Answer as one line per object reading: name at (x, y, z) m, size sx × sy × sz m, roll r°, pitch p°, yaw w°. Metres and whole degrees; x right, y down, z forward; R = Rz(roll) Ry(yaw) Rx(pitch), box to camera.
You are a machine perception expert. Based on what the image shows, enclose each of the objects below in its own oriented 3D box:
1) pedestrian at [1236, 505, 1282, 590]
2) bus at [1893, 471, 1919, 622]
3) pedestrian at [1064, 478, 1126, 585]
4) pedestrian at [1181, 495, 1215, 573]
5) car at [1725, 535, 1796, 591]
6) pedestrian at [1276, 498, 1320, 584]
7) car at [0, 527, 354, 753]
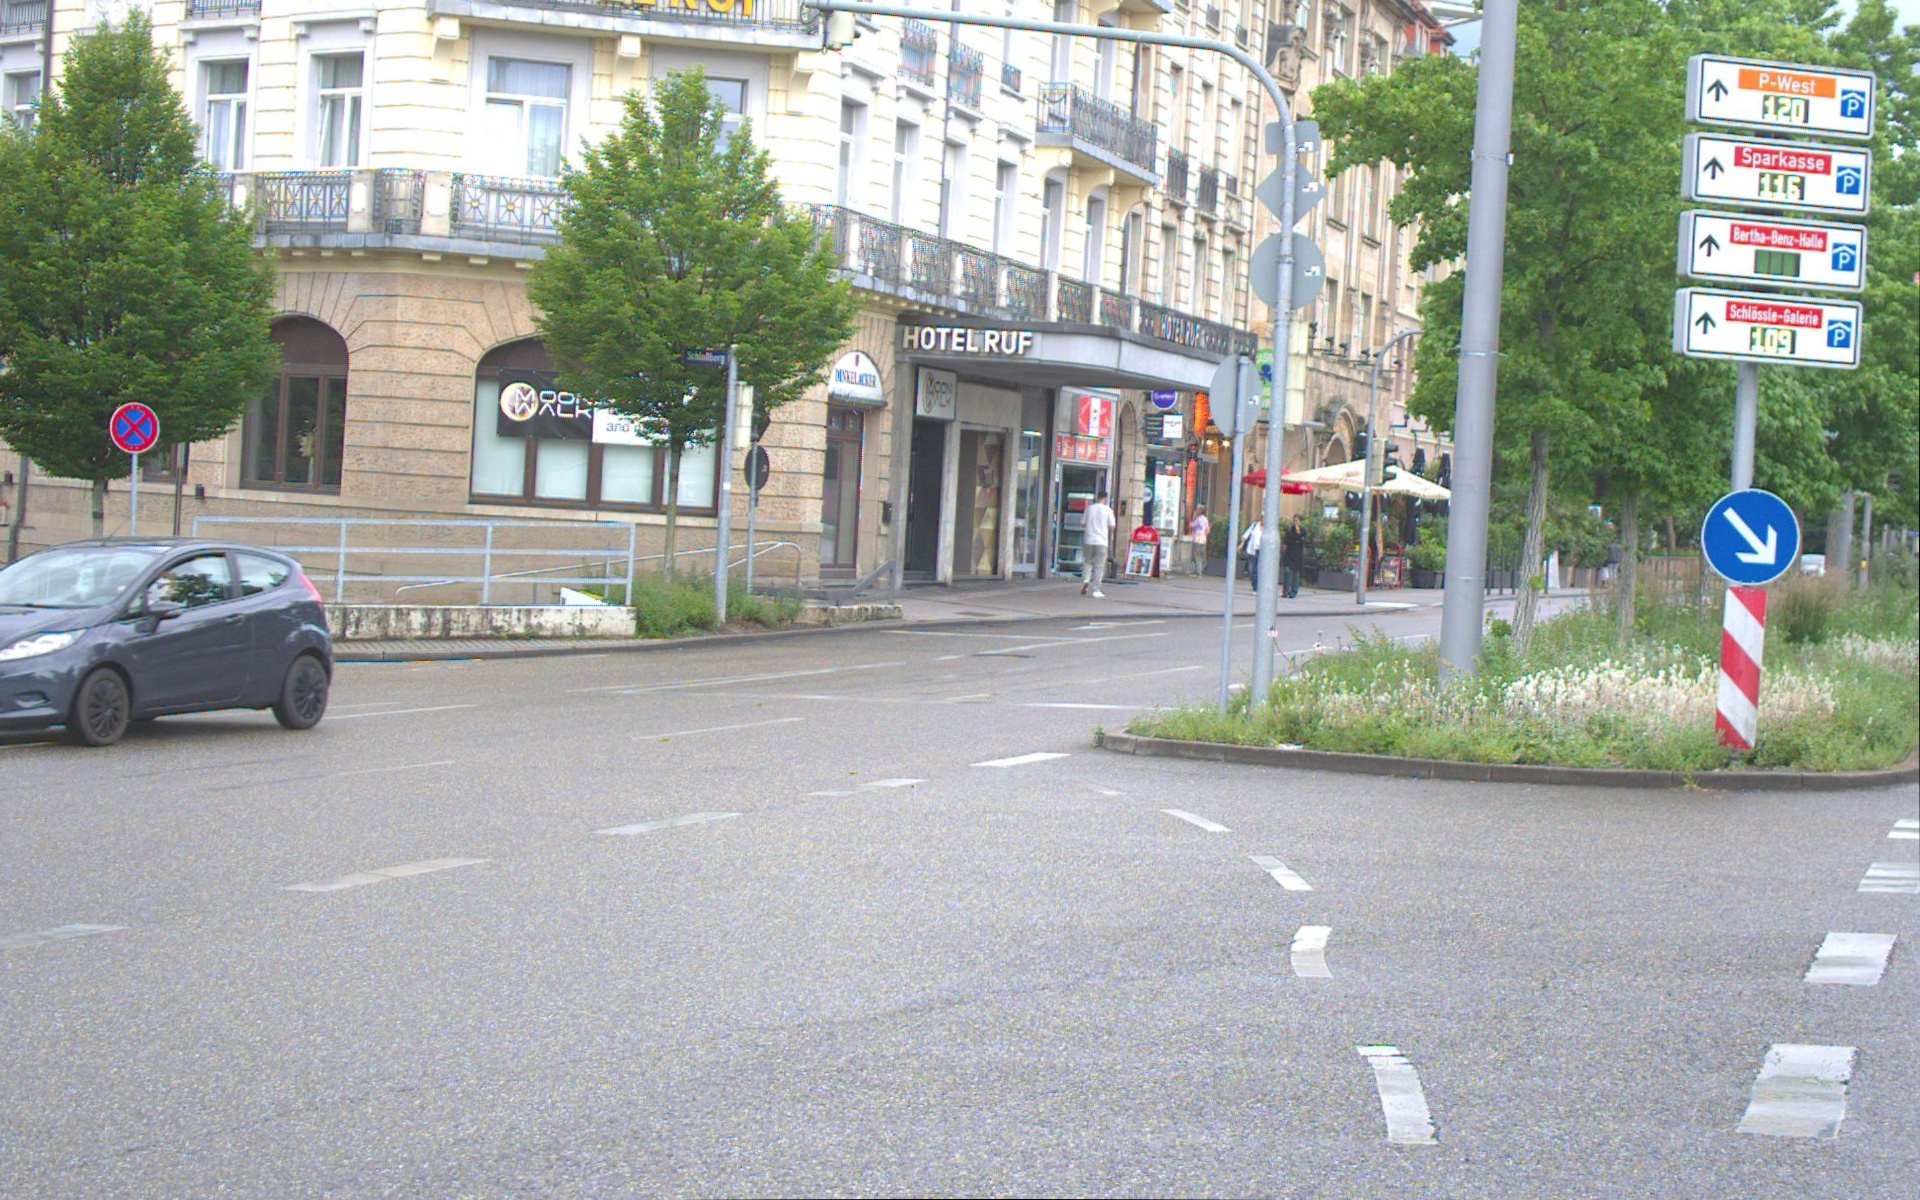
pedestrian at (5.878, -1.034, 67.544) m, size 0.682 × 1.658 × 0.806 m, roll 1°, pitch 1°, yaw 21°
bus at (27.838, -1.433, 95.391) m, size 3.547 × 3.966 × 11.163 m, roll 1°, pitch 1°, yaw 16°
pedestrian at (2.315, -1.177, 58.944) m, size 0.880 × 1.806 × 0.750 m, roll 1°, pitch 1°, yaw 18°
pedestrian at (5.110, -1.422, 73.840) m, size 0.667 × 1.658 × 0.536 m, roll 1°, pitch 1°, yaw 10°
car at (29.531, -1.352, 126.793) m, size 1.995 × 2.007 × 4.996 m, roll 1°, pitch 1°, yaw 19°
pedestrian at (6.610, -1.152, 67.246) m, size 0.682 × 1.658 × 0.806 m, roll 1°, pitch 1°, yaw 18°
car at (-6.163, 0.242, 25.052) m, size 1.679 × 1.507 × 3.859 m, roll 1°, pitch 1°, yaw 21°
